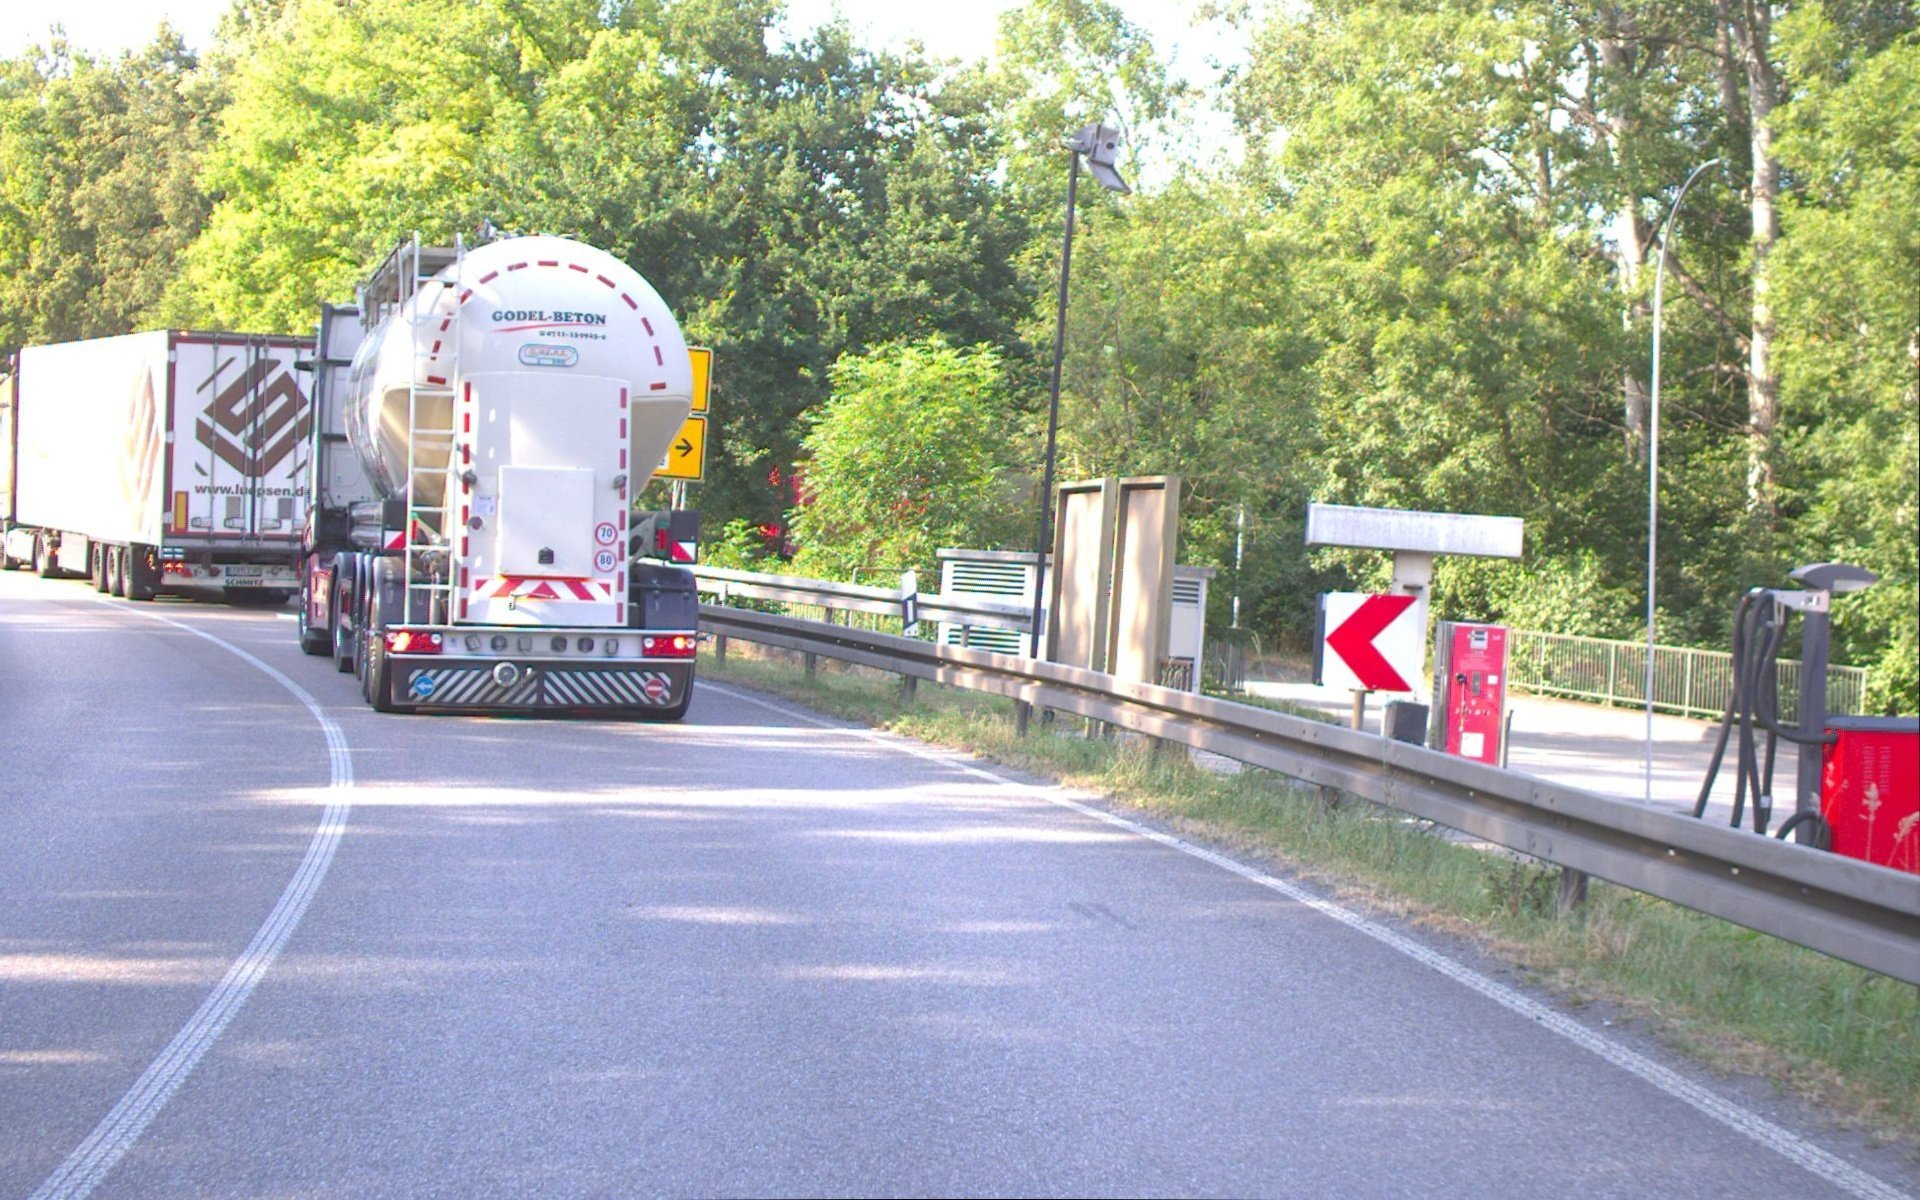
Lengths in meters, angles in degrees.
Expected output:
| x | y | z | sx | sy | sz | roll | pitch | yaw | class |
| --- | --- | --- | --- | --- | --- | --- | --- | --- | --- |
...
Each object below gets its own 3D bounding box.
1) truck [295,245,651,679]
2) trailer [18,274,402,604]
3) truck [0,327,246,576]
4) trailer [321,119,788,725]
| x | y | z | sx | sy | sz | roll | pitch | yaw | class |
| --- | --- | --- | --- | --- | --- | --- | --- | --- | --- |
| -5.263 | -1.404 | 36.253 | 2.823 | 4.021 | 5.896 | 4 | 1 | -15 | truck |
| -12.309 | -2.483 | 55.047 | 3.544 | 4.497 | 12.988 | 3 | 1 | -23 | trailer |
| -15.471 | -2.646 | 61.955 | 3.449 | 4.072 | 6.492 | 3 | 1 | -25 | truck |
| -3.959 | -1.473 | 31.057 | 2.885 | 4.439 | 9.609 | 4 | 1 | -13 | trailer |
